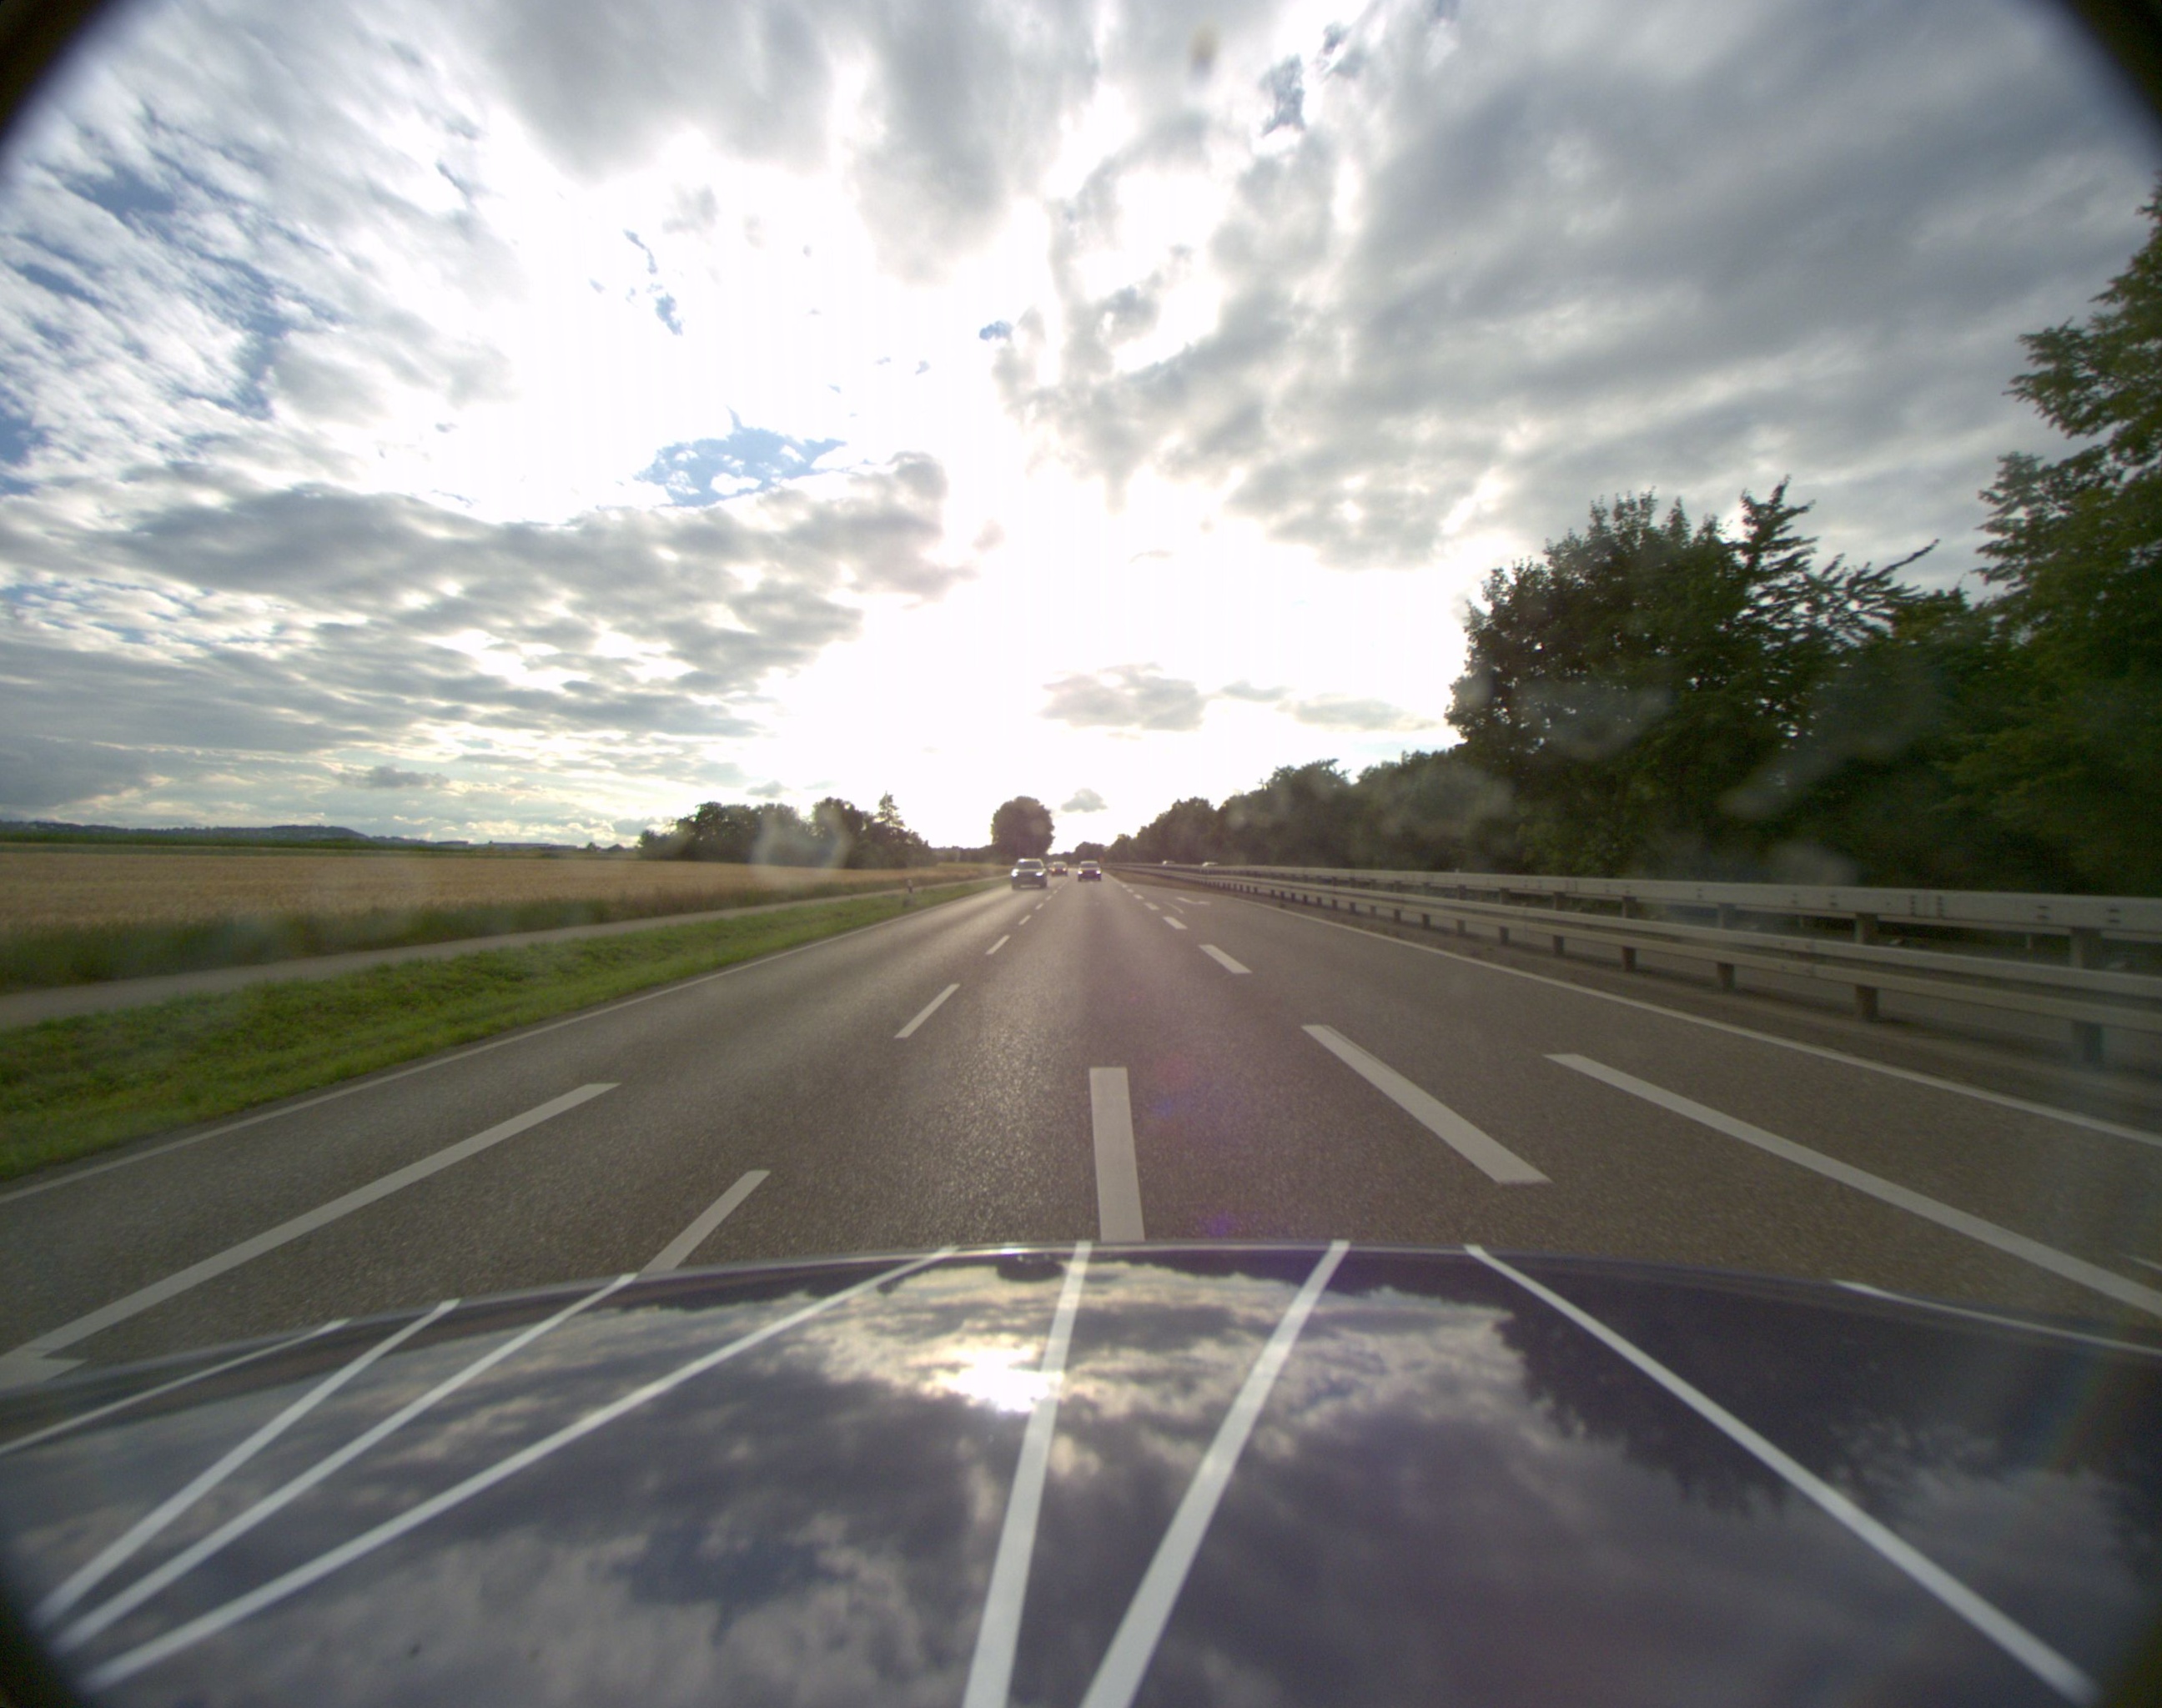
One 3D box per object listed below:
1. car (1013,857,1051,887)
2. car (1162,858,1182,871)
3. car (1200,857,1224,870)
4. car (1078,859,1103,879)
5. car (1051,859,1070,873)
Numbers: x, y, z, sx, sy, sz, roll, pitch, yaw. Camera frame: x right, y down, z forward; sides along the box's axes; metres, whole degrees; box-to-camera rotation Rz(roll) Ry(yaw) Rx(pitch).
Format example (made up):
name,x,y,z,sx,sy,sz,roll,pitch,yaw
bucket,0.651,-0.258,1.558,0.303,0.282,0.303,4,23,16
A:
name,x,y,z,sx,sy,sz,roll,pitch,yaw
car,-2.781,1.012,44.143,1.863,1.636,4.000,-1,0,1
car,10.344,1.155,86.408,1.773,1.459,3.712,0,-1,0
car,13.915,0.987,80.876,1.763,1.404,4.459,0,-1,0
car,0.748,1.101,57.519,1.775,1.388,4.000,-1,0,1
car,-2.184,1.228,81.179,1.823,1.409,4.000,-1,0,0
